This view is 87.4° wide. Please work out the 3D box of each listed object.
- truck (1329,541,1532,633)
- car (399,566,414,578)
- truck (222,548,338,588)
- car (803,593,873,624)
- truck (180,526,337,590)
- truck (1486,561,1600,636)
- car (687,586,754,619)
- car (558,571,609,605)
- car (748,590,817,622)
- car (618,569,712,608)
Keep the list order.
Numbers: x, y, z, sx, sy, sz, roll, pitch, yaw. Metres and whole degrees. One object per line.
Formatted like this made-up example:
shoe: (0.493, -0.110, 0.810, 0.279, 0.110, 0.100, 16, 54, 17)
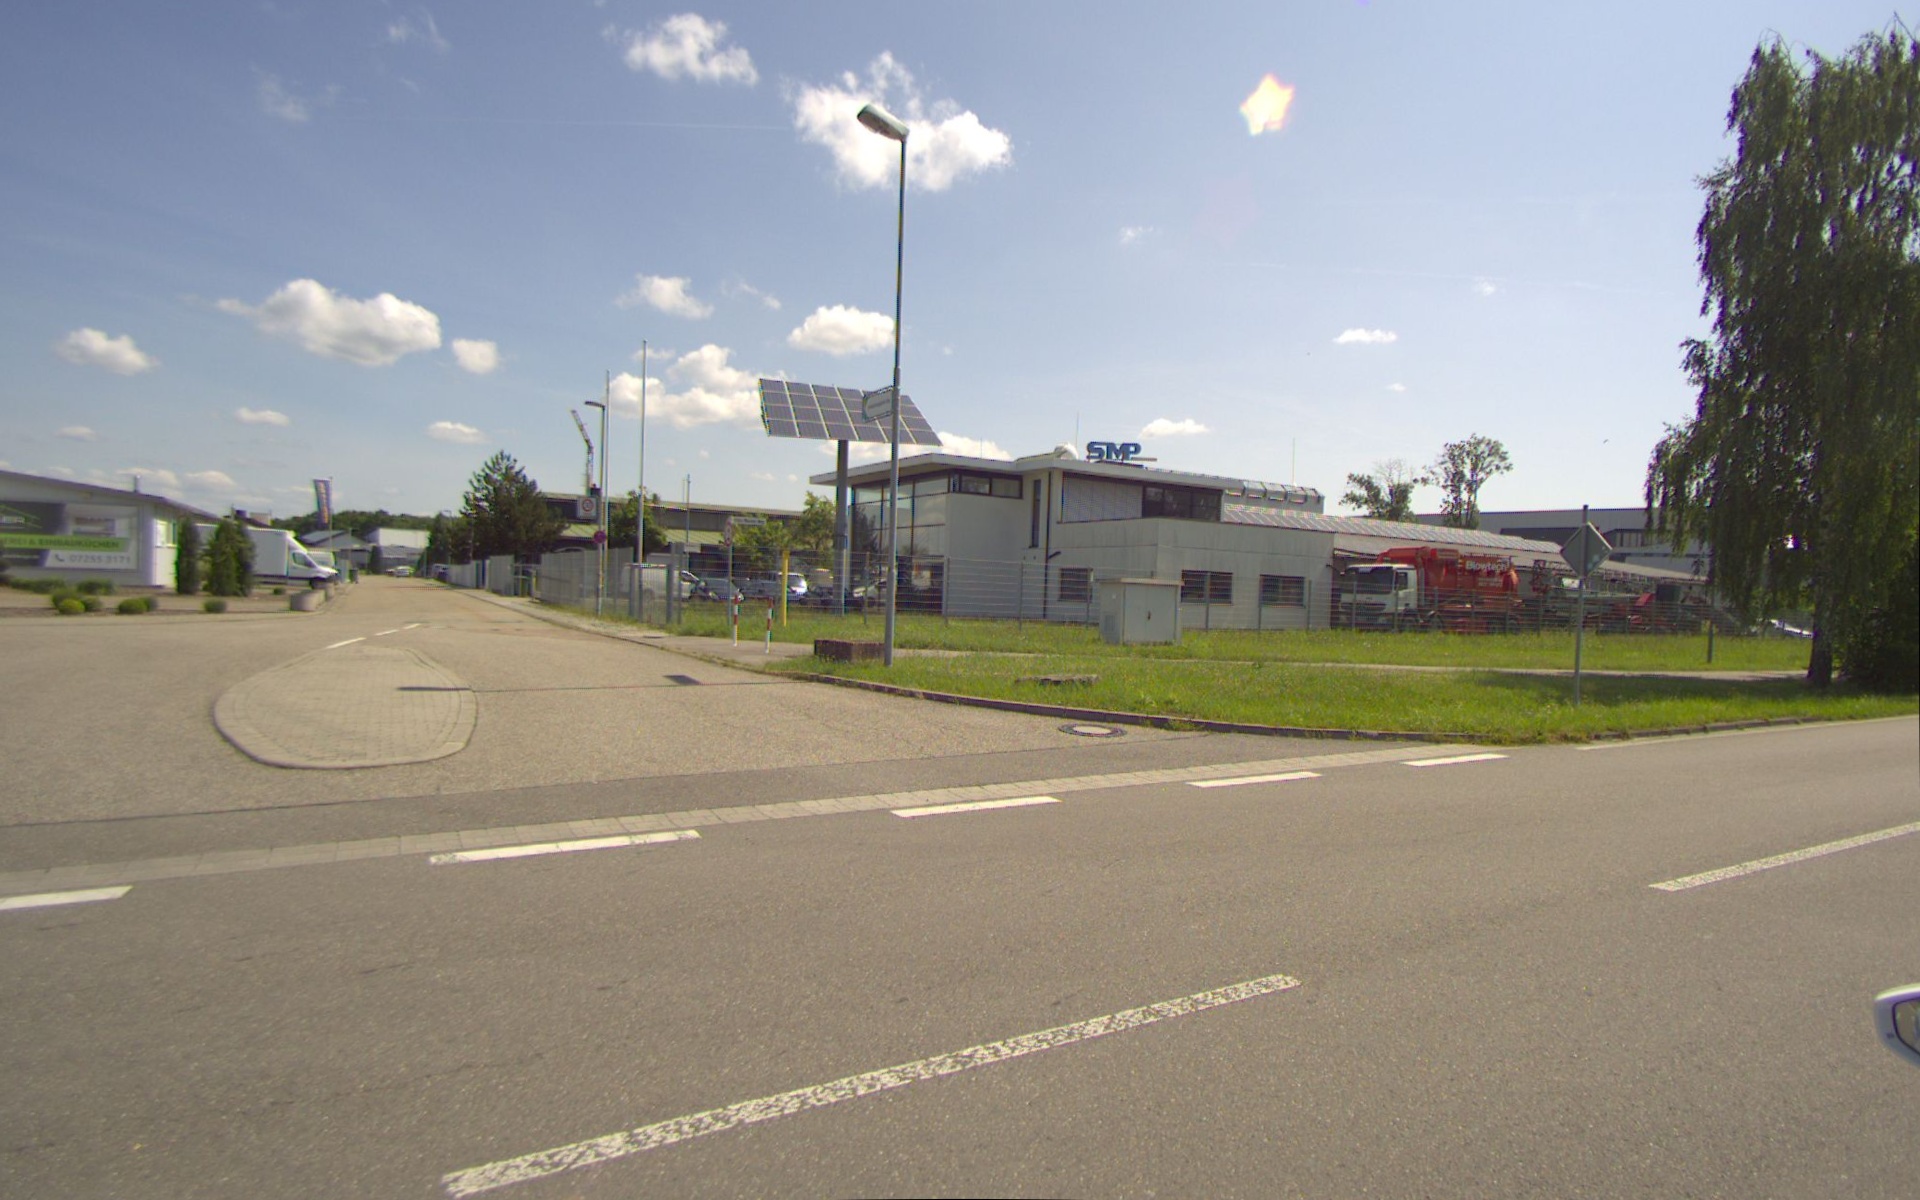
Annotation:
truck: (20.463, -0.470, 43.365, 10.152, 3.606, 2.738, 1, 2, -32)
car: (-83.803, -4.286, 152.077, 1.725, 1.706, 3.577, 1, 2, -31)
truck: (-51.253, -2.381, 75.908, 7.111, 2.700, 2.126, 1, 2, -32)
car: (-5.773, 0.379, 47.278, 1.783, 1.261, 3.966, 1, 2, -31)
truck: (-39.539, -2.320, 56.892, 7.111, 3.256, 1.982, 1, 2, -32)
truck: (28.489, -0.061, 49.047, 5.381, 3.499, 2.422, 1, 2, -32)
car: (-10.686, 0.088, 44.706, 1.783, 1.261, 3.966, 1, 2, -31)
car: (-22.251, -0.738, 59.282, 1.978, 1.873, 3.964, 1, 2, -33)
car: (-8.104, 0.249, 45.715, 1.783, 1.261, 3.966, 1, 2, -31)
car: (-16.763, -0.620, 57.129, 4.697, 2.041, 1.979, 1, 2, -37)
